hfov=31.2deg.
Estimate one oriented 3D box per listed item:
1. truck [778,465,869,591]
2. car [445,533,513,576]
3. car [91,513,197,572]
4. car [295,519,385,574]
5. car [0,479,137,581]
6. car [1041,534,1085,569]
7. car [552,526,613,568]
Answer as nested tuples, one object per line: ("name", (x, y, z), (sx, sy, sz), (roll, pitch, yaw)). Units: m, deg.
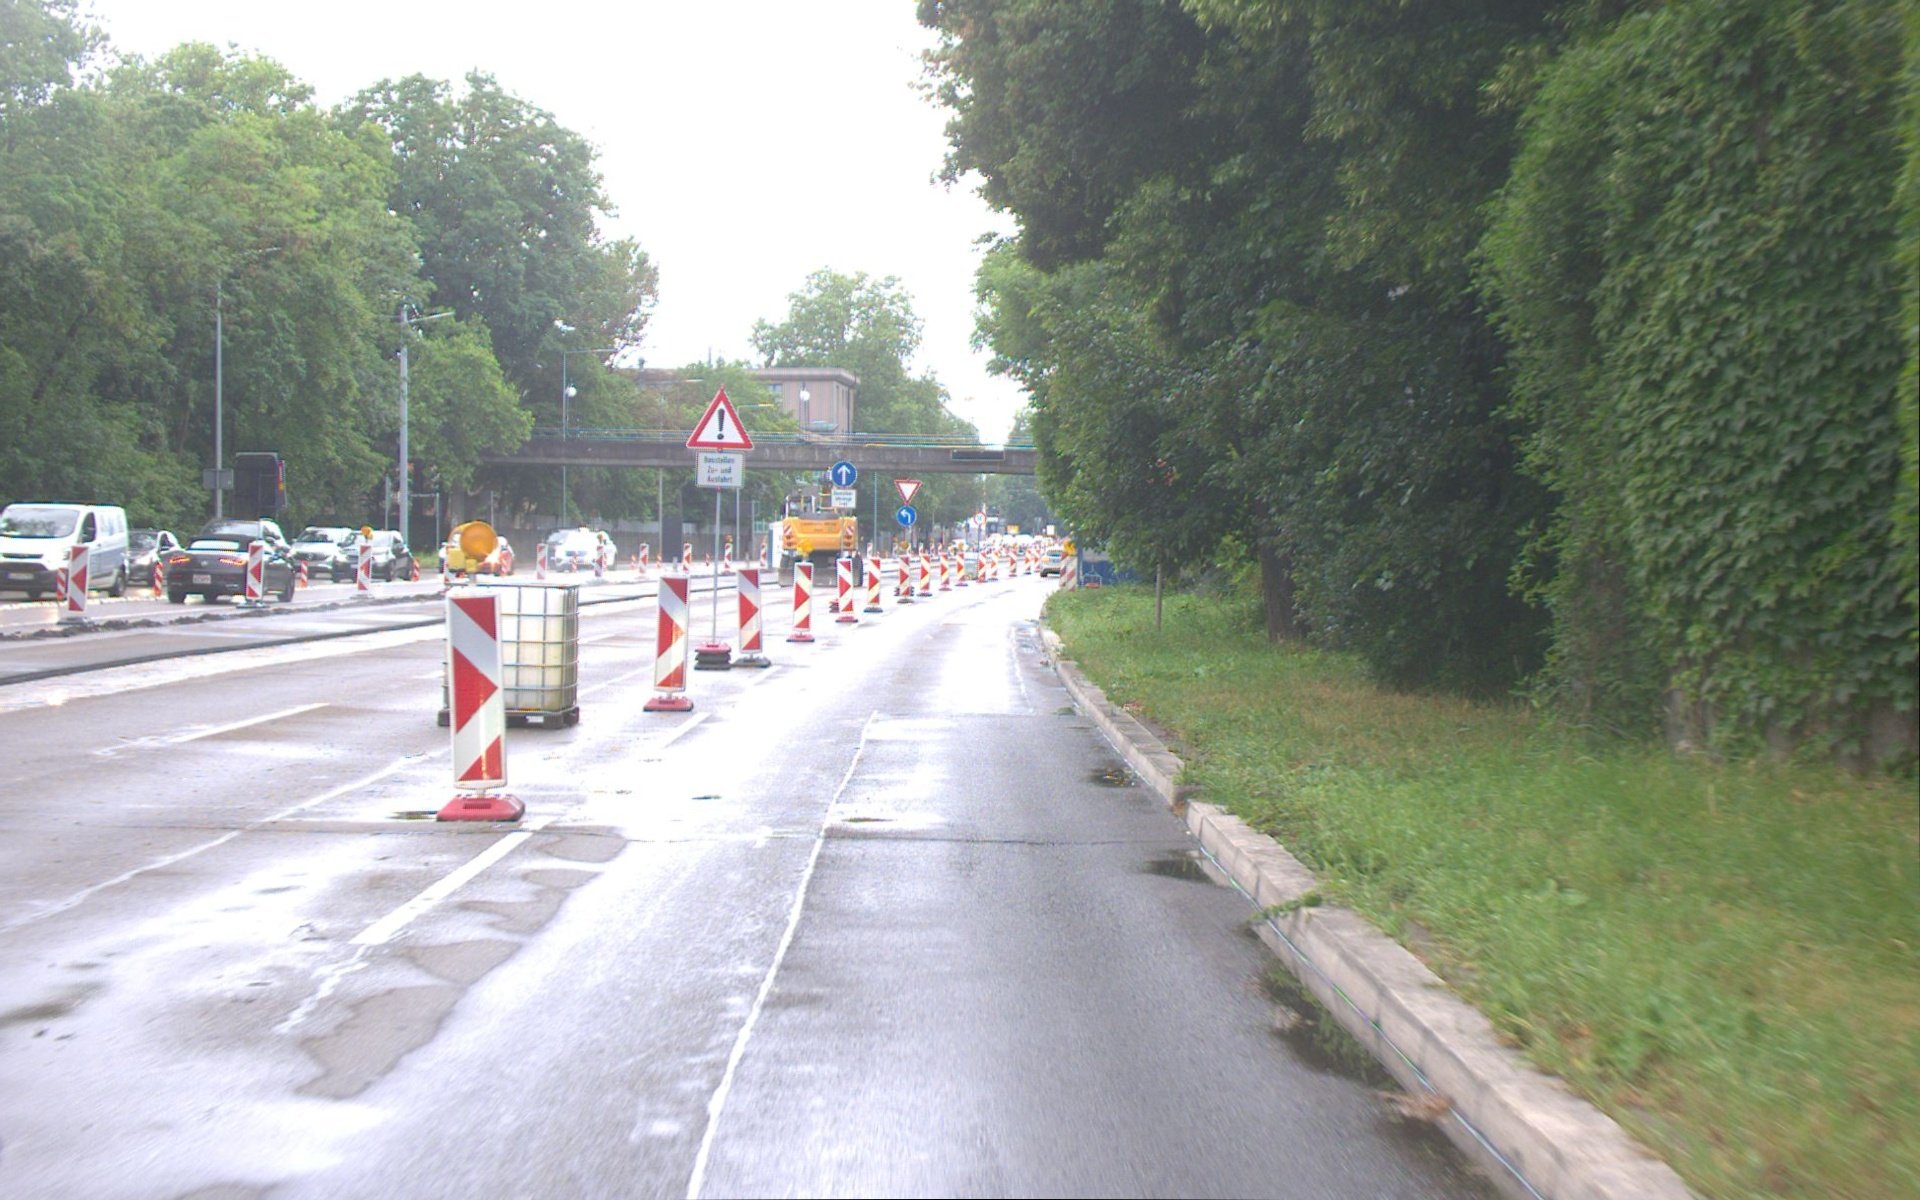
("truck", (-4.830, -2.550, 123.175), (2.897, 4.244, 10.756), (2, 1, -1))
("car", (-16.649, -1.572, 119.168), (1.679, 1.396, 4.013), (2, 1, 1))
("car", (-20.759, -1.462, 87.606), (1.645, 1.415, 4.000), (2, 1, 1))
("car", (-17.836, -1.541, 99.034), (1.776, 1.482, 4.197), (2, 1, 0))
("car", (-18.393, -1.433, 70.359), (1.993, 1.965, 4.903), (2, 1, -2))
("car", (4.959, -2.327, 165.019), (1.994, 1.634, 4.000), (0, 0, 4))
("car", (-15.475, -2.165, 141.134), (1.890, 1.655, 4.893), (2, 1, 1))
